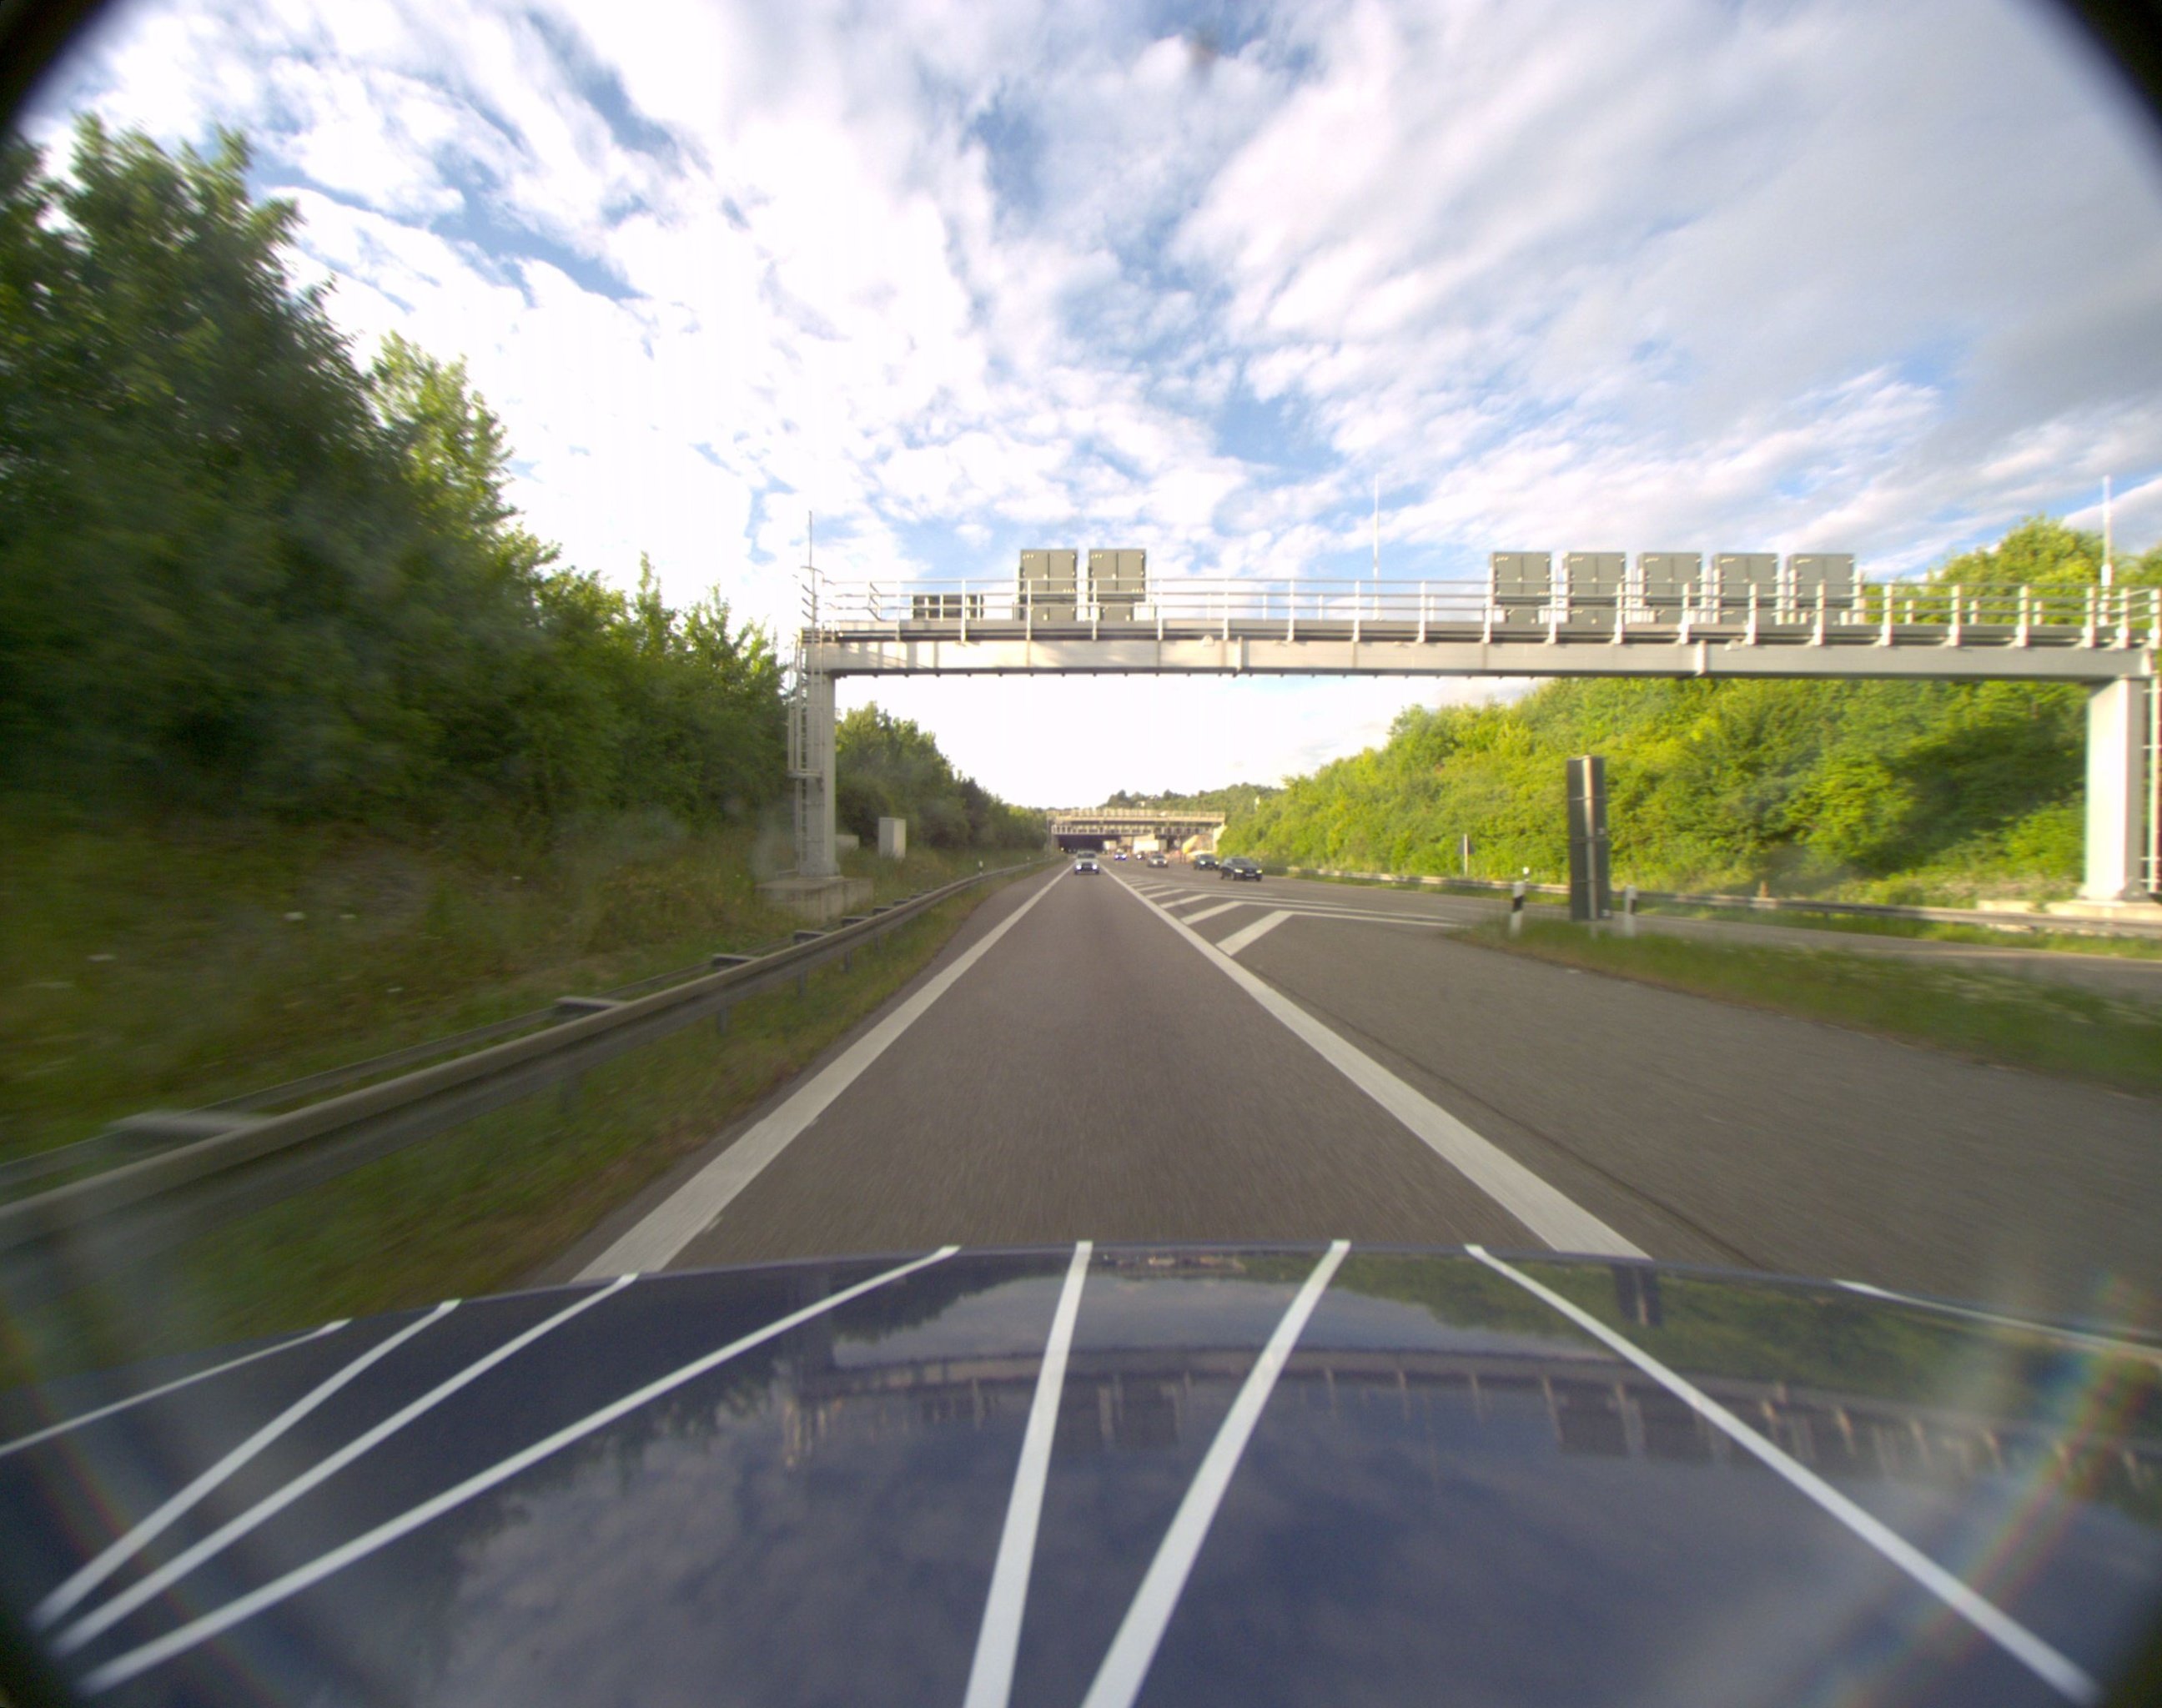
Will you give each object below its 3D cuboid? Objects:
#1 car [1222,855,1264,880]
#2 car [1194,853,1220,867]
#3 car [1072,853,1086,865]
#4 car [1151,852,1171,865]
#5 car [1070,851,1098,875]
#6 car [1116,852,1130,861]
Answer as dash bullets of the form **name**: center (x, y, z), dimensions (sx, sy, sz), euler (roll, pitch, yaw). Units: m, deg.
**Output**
- **car**: center (9.853, 0.790, 46.484), dimensions (1.762, 1.398, 3.999), euler (0, 1, 0)
- **car**: center (12.252, 0.532, 74.041), dimensions (1.880, 1.284, 3.999), euler (-1, 1, 0)
- **car**: center (-0.266, 0.593, 95.107), dimensions (1.619, 1.451, 3.663), euler (-2, 0, 2)
- **car**: center (8.487, 0.478, 80.934), dimensions (1.797, 1.284, 3.999), euler (0, 1, 0)
- **car**: center (0.281, 0.659, 57.998), dimensions (1.904, 1.655, 4.000), euler (-1, 1, 3)
- **car**: center (7.839, 0.483, 142.774), dimensions (1.999, 1.473, 4.944), euler (-1, 1, -4)
